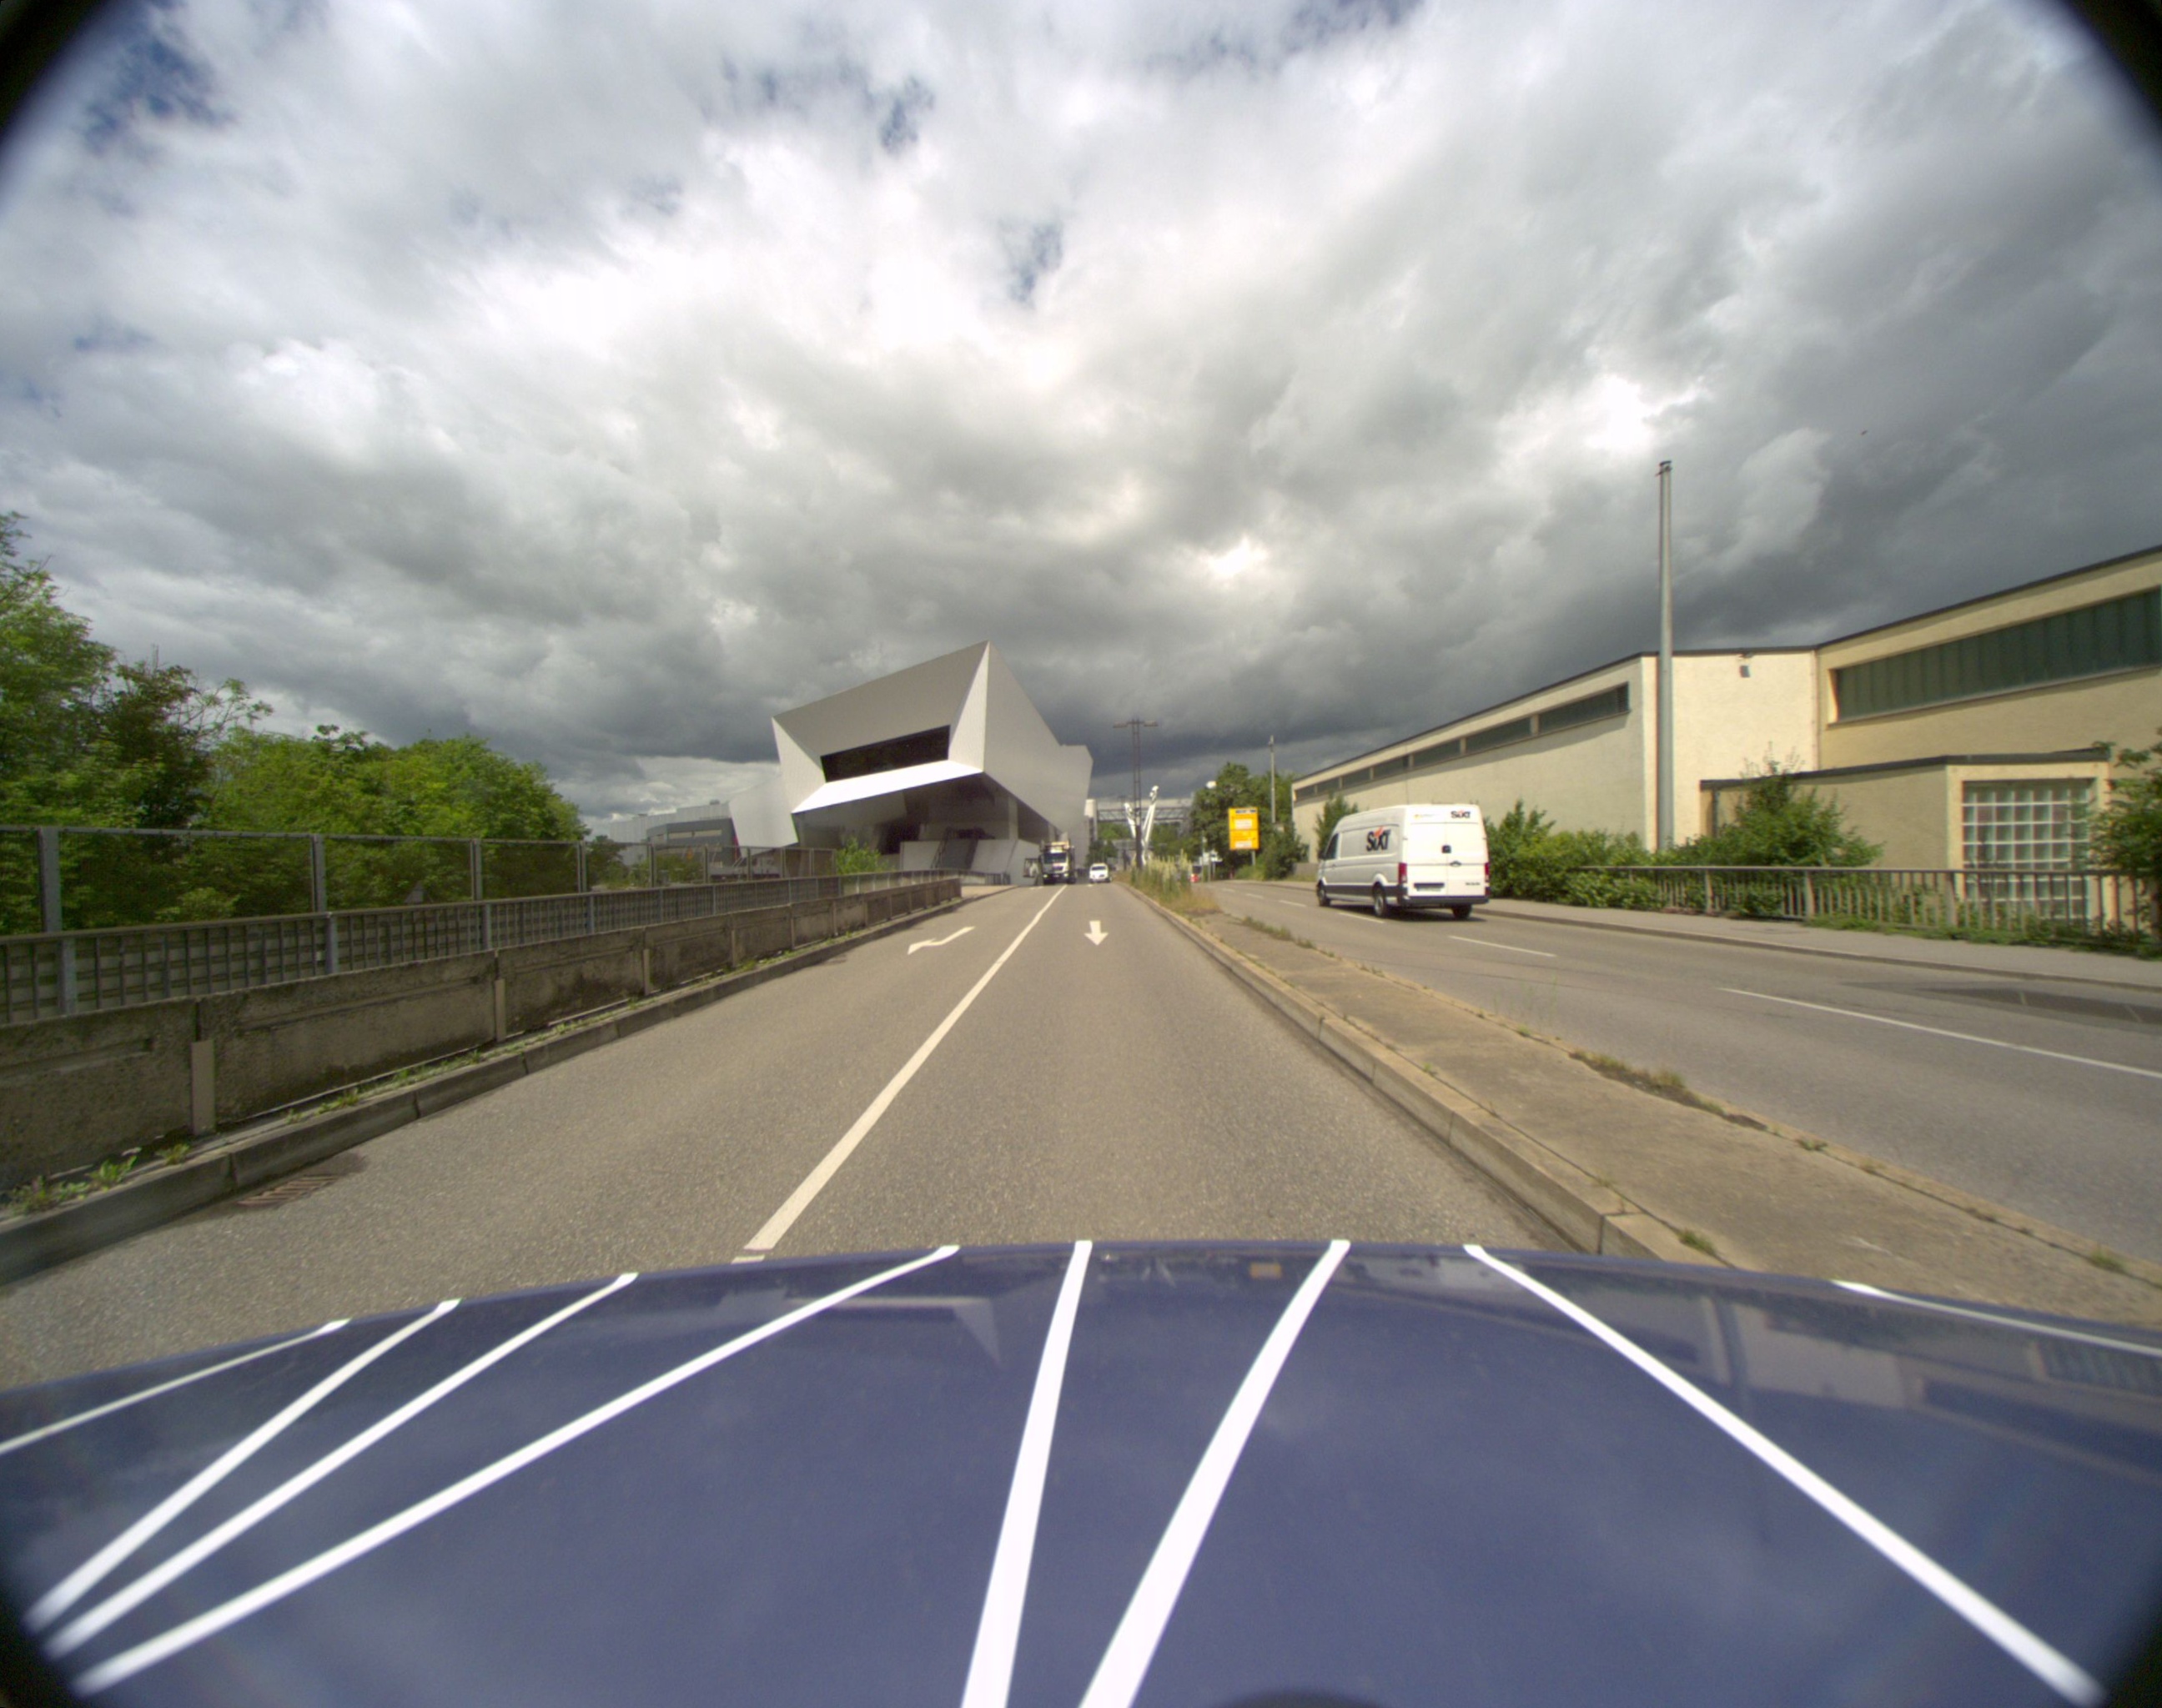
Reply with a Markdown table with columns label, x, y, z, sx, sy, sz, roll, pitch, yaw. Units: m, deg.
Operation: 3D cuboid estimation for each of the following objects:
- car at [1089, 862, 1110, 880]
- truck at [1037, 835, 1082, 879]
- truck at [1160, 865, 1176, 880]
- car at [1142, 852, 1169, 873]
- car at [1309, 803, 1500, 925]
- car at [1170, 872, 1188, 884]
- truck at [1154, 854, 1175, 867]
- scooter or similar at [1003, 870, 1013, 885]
| label | x | y | z | sx | sy | sz | roll | pitch | yaw |
| --- | --- | --- | --- | --- | --- | --- | --- | --- | --- |
| car | 1.899 | 1.712 | 77.423 | 1.986 | 1.702 | 4.761 | -2 | 0 | 1 |
| truck | -1.815 | 0.426 | 69.881 | 2.842 | 3.667 | 10.760 | -2 | -2 | 5 |
| truck | 18.897 | 4.015 | 164.972 | 2.861 | 2.839 | 9.389 | -2 | -4 | 9 |
| car | 6.845 | 0.776 | 70.096 | 1.998 | 1.877 | 4.869 | -2 | -1 | 0 |
| car | 7.826 | 0.225 | 19.399 | 2.072 | 2.556 | 6.822 | 0 | 0 | 1 |
| car | 10.974 | 2.702 | 84.958 | 1.758 | 1.268 | 4.002 | 1 | 0 | 4 |
| truck | 26.700 | 2.093 | 243.479 | 2.364 | 3.545 | 8.975 | -2 | -3 | -24 |
| scooter or similar | -6.137 | 1.969 | 64.055 | 0.655 | 1.206 | 1.858 | -1 | -1 | 1 |
